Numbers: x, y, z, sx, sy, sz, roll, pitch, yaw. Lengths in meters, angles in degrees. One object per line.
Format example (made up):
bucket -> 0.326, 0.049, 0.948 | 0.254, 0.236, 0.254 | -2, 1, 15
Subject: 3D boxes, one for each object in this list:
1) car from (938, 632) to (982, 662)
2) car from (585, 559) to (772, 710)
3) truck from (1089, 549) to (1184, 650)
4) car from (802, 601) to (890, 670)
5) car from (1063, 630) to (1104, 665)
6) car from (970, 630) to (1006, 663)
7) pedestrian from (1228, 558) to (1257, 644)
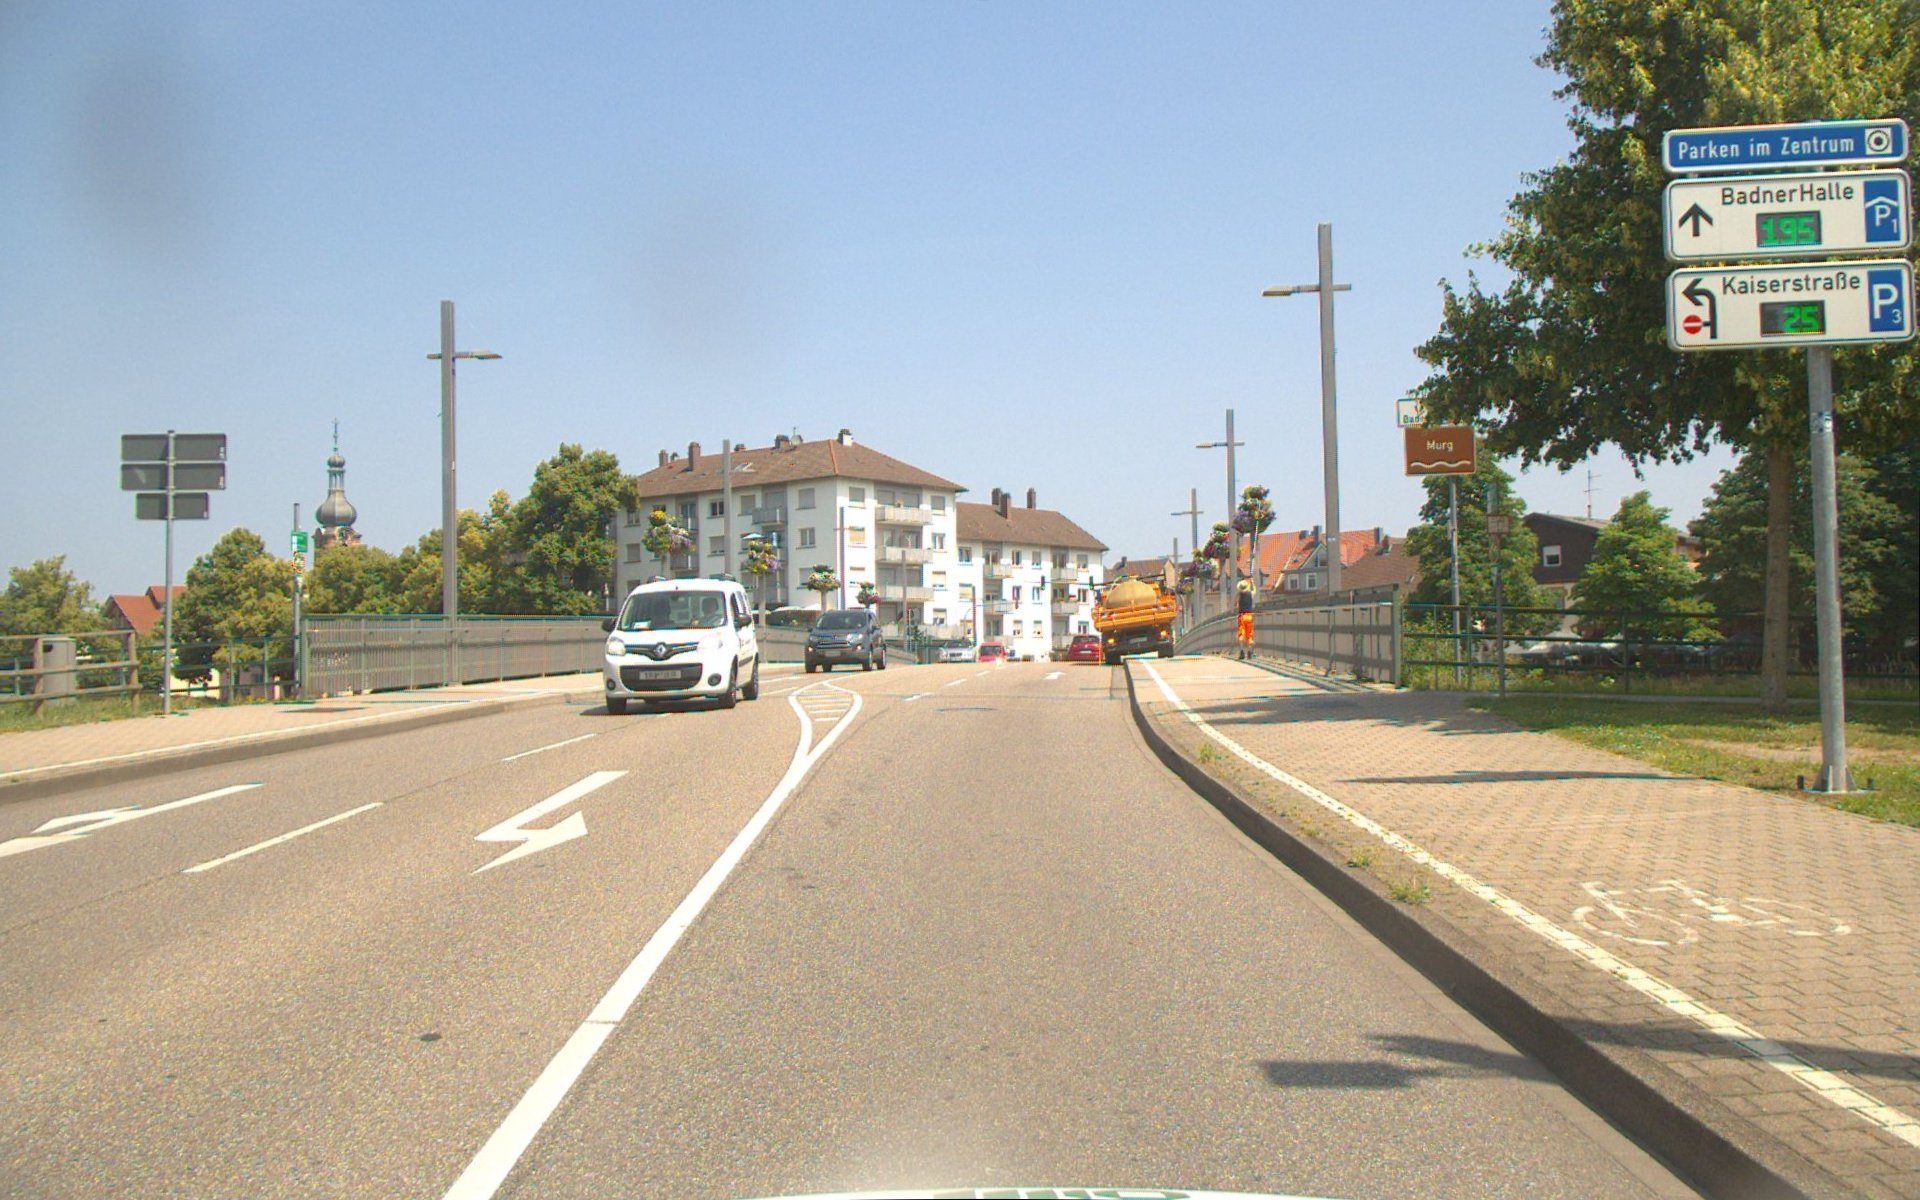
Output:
car -> 0.033, 2.247, 78.733 | 1.662, 1.382, 4.458 | 0, -1, 5
car -> -3.917, 0.466, 23.777 | 1.799, 1.893, 4.663 | -2, 0, 0
truck -> 5.205, 0.061, 49.016 | 2.550, 2.738, 5.826 | -1, -2, 6
car -> -2.986, 0.940, 43.952 | 1.700, 1.669, 3.923 | -3, -2, 5
car -> 6.133, 2.392, 82.592 | 1.948, 1.641, 4.344 | -2, -2, 3
car -> 1.604, 2.643, 93.597 | 1.699, 1.808, 4.178 | -1, -3, 5
pedestrian -> 6.654, 0.036, 38.997 | 0.535, 1.994, 0.673 | -1, -3, 1
